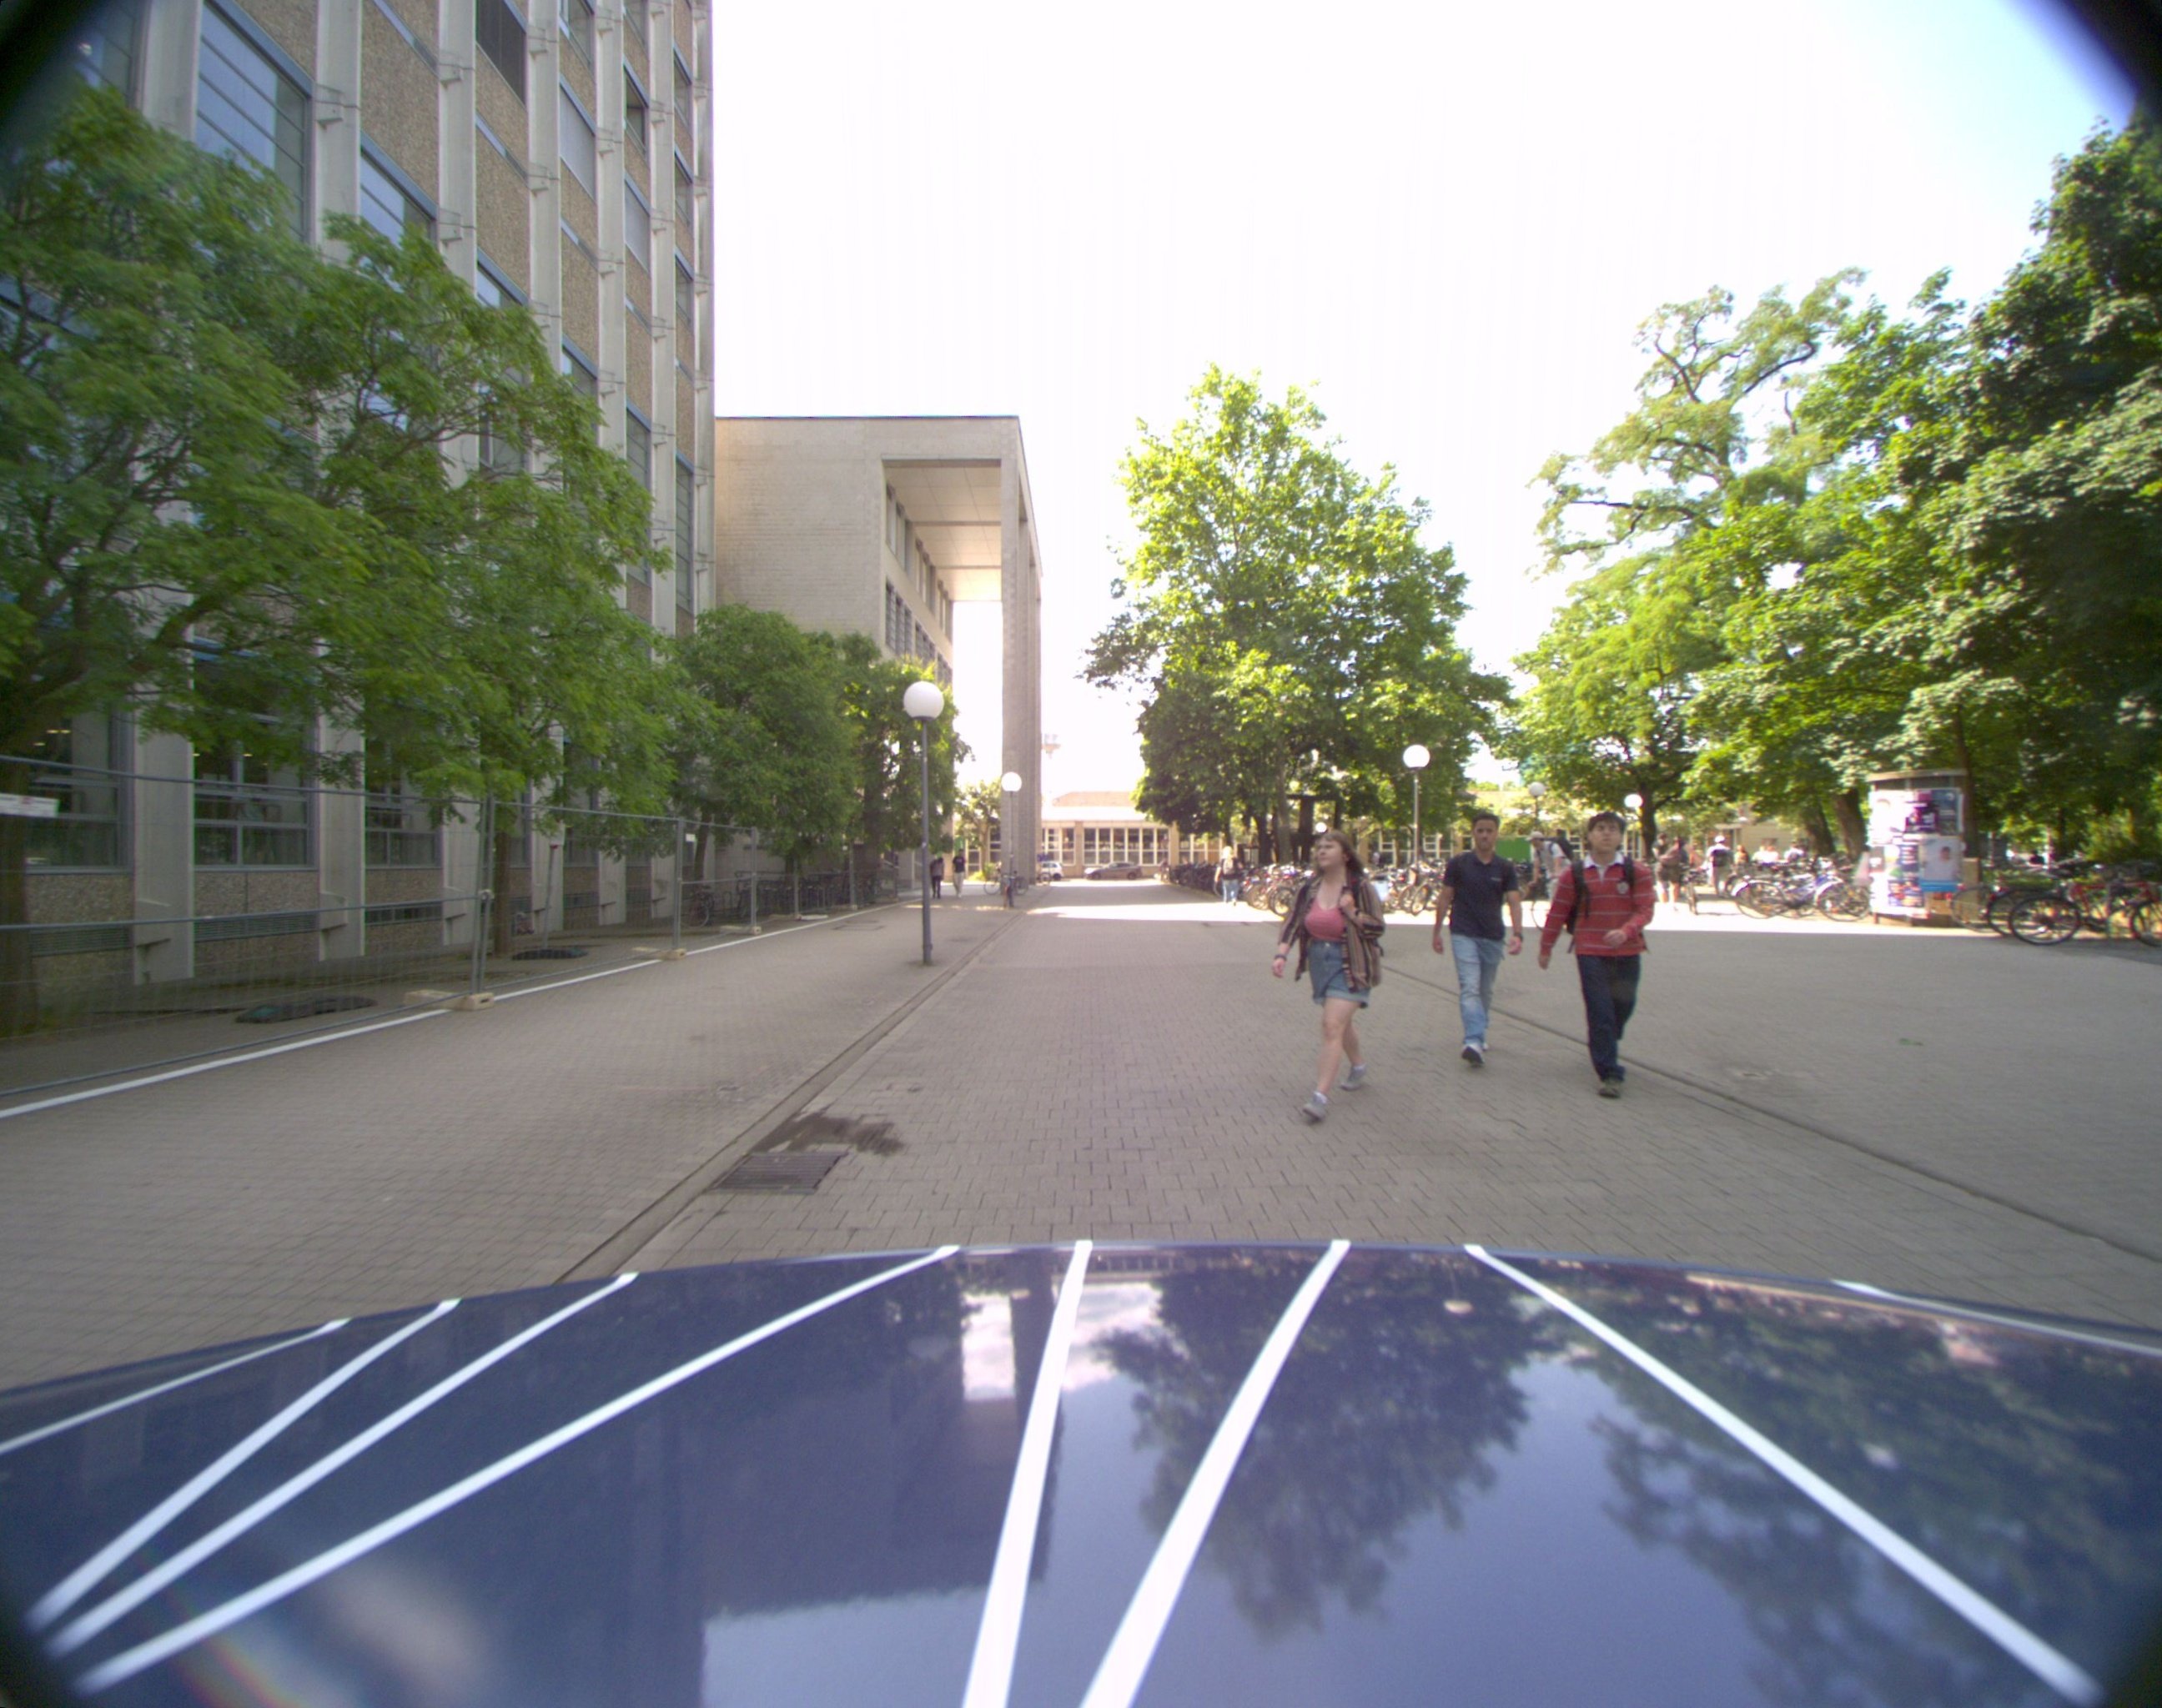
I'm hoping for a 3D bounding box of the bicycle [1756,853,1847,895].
[{"bbox_3d":[19.679,0.547,20.792,1.773,1.104,0.518,-1,1,42],"label":"bicycle"}]

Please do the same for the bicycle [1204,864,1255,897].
[{"bbox_3d":[5.345,0.943,27.366,1.700,1.101,0.496,-1,1,-10],"label":"bicycle"}]

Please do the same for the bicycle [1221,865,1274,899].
[{"bbox_3d":[5.688,0.944,26.007,1.700,1.101,0.473,-1,1,-11],"label":"bicycle"}]

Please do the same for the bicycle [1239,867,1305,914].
[{"bbox_3d":[5.094,0.950,20.259,1.700,1.161,0.473,-2,1,-16],"label":"bicycle"}]

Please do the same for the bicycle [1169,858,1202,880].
[{"bbox_3d":[5.344,0.771,39.040,1.628,1.101,0.691,-1,1,5],"label":"bicycle"}]

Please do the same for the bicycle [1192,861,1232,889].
[{"bbox_3d":[5.650,0.908,32.745,1.627,1.137,0.497,-1,1,14],"label":"bicycle"}]

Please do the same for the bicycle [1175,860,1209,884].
[{"bbox_3d":[5.593,0.897,38.257,1.628,1.144,0.497,-1,1,1],"label":"bicycle"}]

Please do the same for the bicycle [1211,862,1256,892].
[{"bbox_3d":[6.009,0.896,29.944,1.742,1.101,0.496,-2,1,-23],"label":"bicycle"}]

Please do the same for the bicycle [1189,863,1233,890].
[{"bbox_3d":[5.504,0.945,32.094,1.737,1.101,0.575,-1,1,20],"label":"bicycle"}]

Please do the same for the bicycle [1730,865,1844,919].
[{"bbox_3d":[15.228,0.803,16.440,1.773,1.104,0.475,-1,1,39],"label":"bicycle"}]

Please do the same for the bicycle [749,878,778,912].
[{"bbox_3d":[-9.162,1.171,21.944,0.291,0.900,1.448,-1,0,-3],"label":"bicycle"}]

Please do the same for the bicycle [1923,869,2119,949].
[{"bbox_3d":[13.813,0.788,11.233,1.773,1.104,0.475,-1,1,29],"label":"bicycle"}]

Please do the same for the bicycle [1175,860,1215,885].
[{"bbox_3d":[5.526,0.879,36.853,1.784,1.155,0.497,-1,1,-5],"label":"bicycle"}]

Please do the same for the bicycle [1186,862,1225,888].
[{"bbox_3d":[5.449,0.925,33.358,1.627,1.101,0.497,-1,1,14],"label":"bicycle"}]

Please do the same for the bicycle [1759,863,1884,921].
[{"bbox_3d":[14.989,0.754,15.439,1.773,1.104,0.475,-1,1,39],"label":"bicycle"}]

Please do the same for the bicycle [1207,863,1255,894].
[{"bbox_3d":[5.748,0.922,29.093,1.741,1.101,0.496,-1,1,-12],"label":"bicycle"}]

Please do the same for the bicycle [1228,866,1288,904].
[{"bbox_3d":[5.467,0.960,23.499,1.700,1.101,0.582,-1,1,-11],"label":"bicycle"}]

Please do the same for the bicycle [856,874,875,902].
[{"bbox_3d":[-7.252,1.137,25.593,0.291,0.900,1.448,-1,0,-3],"label":"bicycle"}]

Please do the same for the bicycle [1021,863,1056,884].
[{"bbox_3d":[-2.361,1.090,42.295,1.886,1.157,0.605,1,-1,-4],"label":"bicycle"}]

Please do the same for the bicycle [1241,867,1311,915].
[{"bbox_3d":[5.060,0.941,19.717,1.700,1.161,0.473,-1,1,-12],"label":"bicycle"}]

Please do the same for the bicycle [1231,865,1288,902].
[{"bbox_3d":[5.758,0.945,24.577,1.700,1.101,0.565,-1,1,-11],"label":"bicycle"}]

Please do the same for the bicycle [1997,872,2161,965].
[{"bbox_3d":[12.887,0.793,9.507,1.773,1.104,0.475,-1,1,29],"label":"bicycle"}]

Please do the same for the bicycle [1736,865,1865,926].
[{"bbox_3d":[13.737,0.765,14.556,1.773,1.104,0.475,-1,1,44],"label":"bicycle"}]

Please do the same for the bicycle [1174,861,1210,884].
[{"bbox_3d":[5.484,0.914,37.489,1.629,1.101,0.645,-1,1,-4],"label":"bicycle"}]

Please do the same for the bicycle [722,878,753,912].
[{"bbox_3d":[-9.905,1.178,21.964,0.291,0.900,1.448,-1,0,-3],"label":"bicycle"}]

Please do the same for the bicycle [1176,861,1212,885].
[{"bbox_3d":[5.395,0.918,36.359,1.629,1.101,0.497,-1,1,-5],"label":"bicycle"}]

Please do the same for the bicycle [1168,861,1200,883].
[{"bbox_3d":[5.396,0.964,39.764,1.628,1.101,0.497,-1,1,5],"label":"bicycle"}]

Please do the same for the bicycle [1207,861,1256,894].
[{"bbox_3d":[5.617,0.869,28.402,1.739,1.172,0.497,-1,1,0],"label":"bicycle"}]

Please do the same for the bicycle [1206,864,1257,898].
[{"bbox_3d":[5.322,0.938,26.841,1.700,1.139,0.473,-1,1,-11],"label":"bicycle"}]

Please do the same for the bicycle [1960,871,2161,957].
[{"bbox_3d":[13.455,0.795,10.423,1.773,1.104,0.475,-1,1,29],"label":"bicycle"}]

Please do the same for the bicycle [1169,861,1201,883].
[{"bbox_3d":[5.516,0.953,40.310,1.628,1.101,0.506,-1,1,5],"label":"bicycle"}]

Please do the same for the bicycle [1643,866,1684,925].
[{"bbox_3d":[12.144,0.831,15.872,0.473,1.104,1.848,-1,1,31],"label":"bicycle"}]

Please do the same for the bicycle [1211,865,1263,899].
[{"bbox_3d":[5.420,0.954,26.383,1.700,1.101,0.473,-1,1,-11],"label":"bicycle"}]

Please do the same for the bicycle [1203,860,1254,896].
[{"bbox_3d":[5.416,0.872,27.843,1.740,1.228,0.496,-1,1,-7],"label":"bicycle"}]

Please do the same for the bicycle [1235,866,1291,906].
[{"bbox_3d":[5.459,0.949,22.767,1.702,1.101,0.473,-2,1,-26],"label":"bicycle"}]

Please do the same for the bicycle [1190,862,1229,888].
[{"bbox_3d":[5.729,0.921,33.892,1.627,1.101,0.563,-1,1,14],"label":"bicycle"}]

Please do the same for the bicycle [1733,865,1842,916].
[{"bbox_3d":[15.947,0.813,17.215,1.773,1.104,0.475,-1,1,39],"label":"bicycle"}]

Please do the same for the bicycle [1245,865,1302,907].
[{"bbox_3d":[5.668,0.913,22.352,1.702,1.151,0.473,-2,1,-26],"label":"bicycle"}]

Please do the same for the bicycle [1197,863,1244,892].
[{"bbox_3d":[5.612,0.934,30.599,1.740,1.120,0.497,-1,1,-4],"label":"bicycle"}]

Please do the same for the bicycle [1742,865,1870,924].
[{"bbox_3d":[14.167,0.772,14.914,1.773,1.104,0.475,-1,1,39],"label":"bicycle"}]

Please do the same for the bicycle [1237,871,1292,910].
[{"bbox_3d":[5.214,1.011,21.506,1.702,1.013,0.473,-2,1,-34],"label":"bicycle"}]

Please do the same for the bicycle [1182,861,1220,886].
[{"bbox_3d":[5.592,0.888,35.397,1.724,1.101,0.719,-1,1,11],"label":"bicycle"}]

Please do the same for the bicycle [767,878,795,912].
[{"bbox_3d":[-8.655,1.173,21.937,0.291,0.900,1.448,-1,0,-3],"label":"bicycle"}]

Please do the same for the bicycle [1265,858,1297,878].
[{"bbox_3d":[11.975,0.843,45.501,1.839,1.101,0.393,-1,1,-6],"label":"bicycle"}]

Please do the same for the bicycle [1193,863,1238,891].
[{"bbox_3d":[5.530,0.940,31.220,1.739,1.101,0.497,-1,1,1],"label":"bicycle"}]

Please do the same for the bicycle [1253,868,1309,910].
[{"bbox_3d":[5.583,0.957,21.149,1.702,1.055,0.473,-2,1,-34],"label":"bicycle"}]

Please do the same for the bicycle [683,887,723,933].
[{"bbox_3d":[-8.396,1.215,16.913,0.291,0.900,1.618,-1,0,-8],"label":"bicycle"}]

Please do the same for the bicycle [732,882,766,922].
[{"bbox_3d":[-8.297,1.173,19.048,0.291,0.900,1.804,-1,0,-8],"label":"bicycle"}]

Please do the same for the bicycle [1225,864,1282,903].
[{"bbox_3d":[5.462,0.921,24.027,1.700,1.181,0.473,-1,1,-11],"label":"bicycle"}]

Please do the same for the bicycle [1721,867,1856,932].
[{"bbox_3d":[12.866,0.799,13.866,1.773,1.104,0.475,-1,1,44],"label":"bicycle"}]

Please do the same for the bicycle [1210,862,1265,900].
[{"bbox_3d":[5.232,0.903,25.411,1.699,1.191,0.536,-1,1,-8],"label":"bicycle"}]
